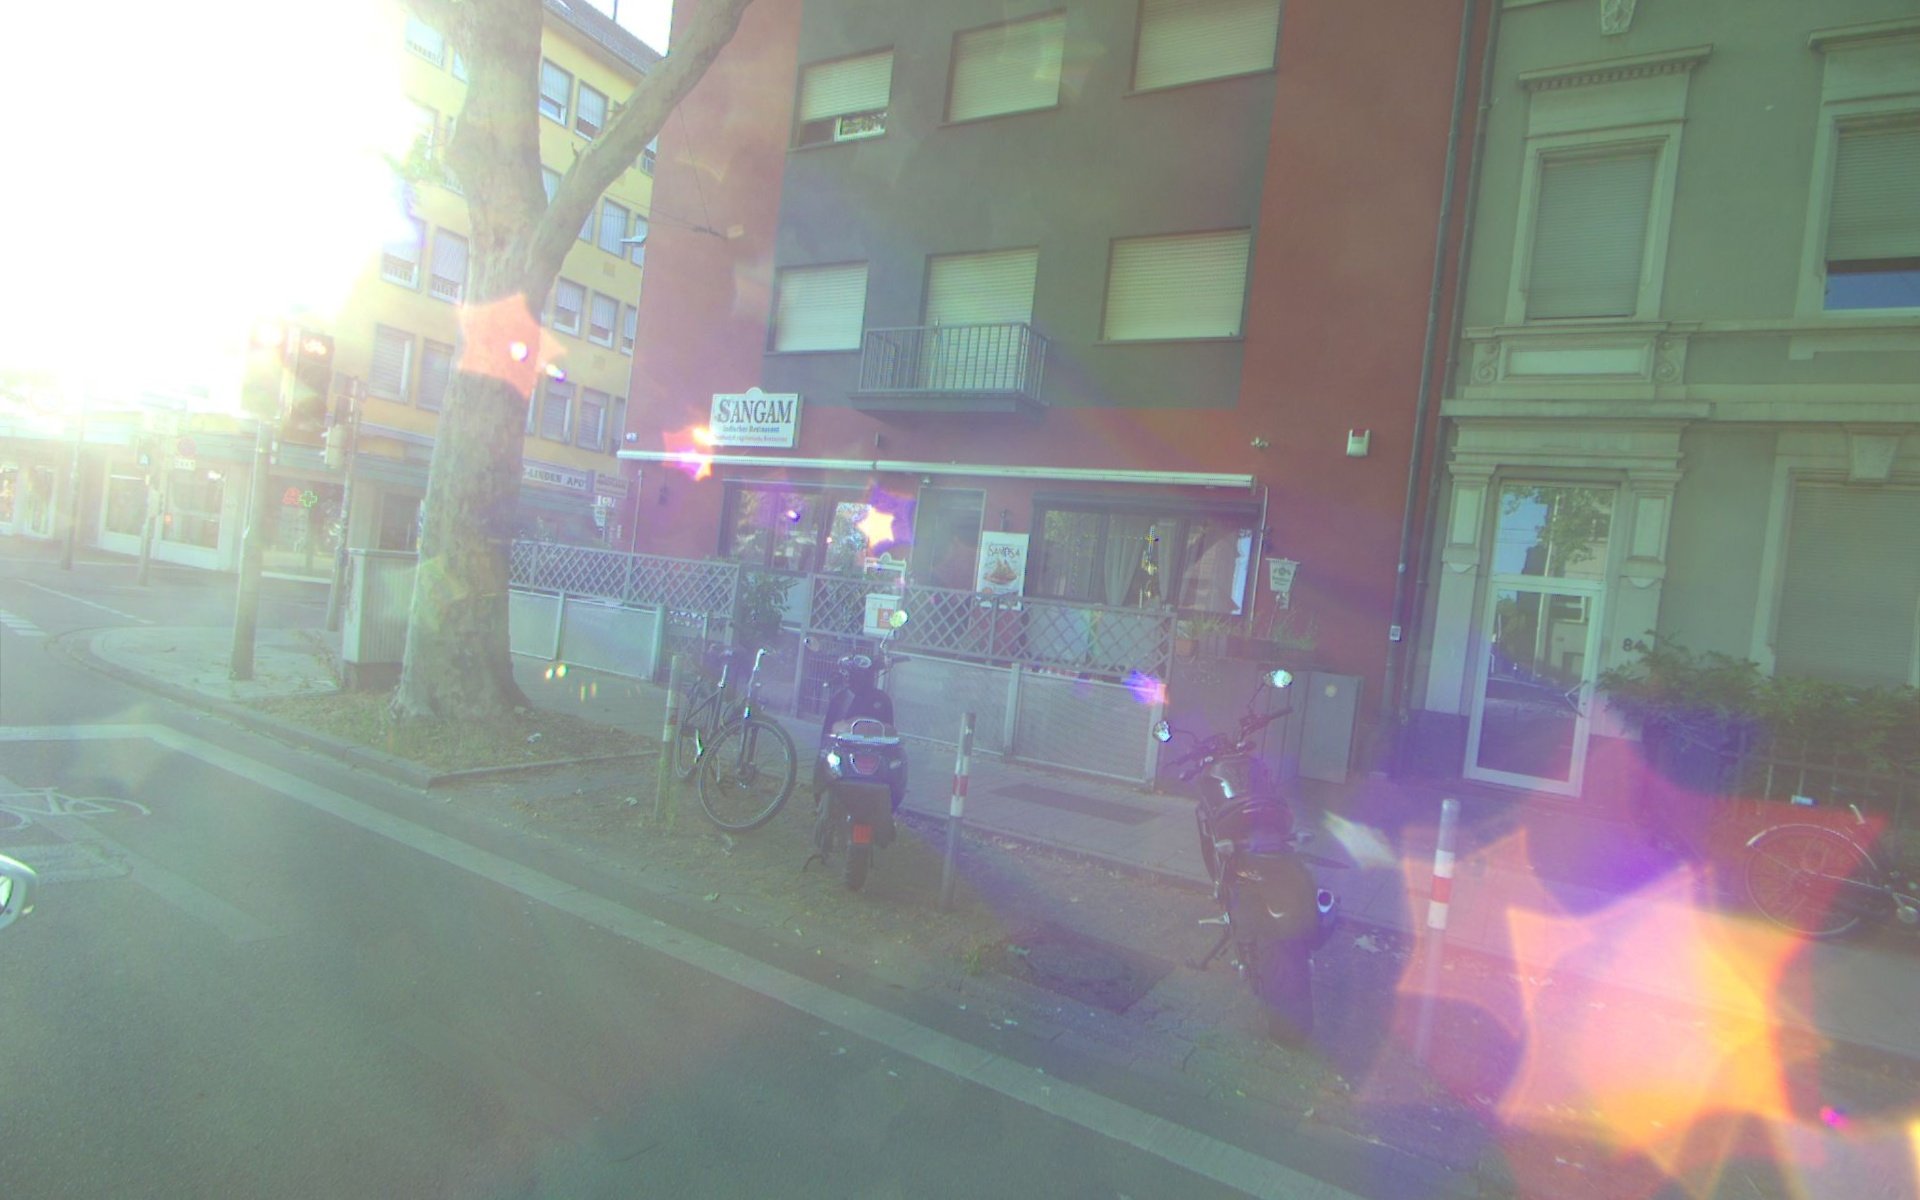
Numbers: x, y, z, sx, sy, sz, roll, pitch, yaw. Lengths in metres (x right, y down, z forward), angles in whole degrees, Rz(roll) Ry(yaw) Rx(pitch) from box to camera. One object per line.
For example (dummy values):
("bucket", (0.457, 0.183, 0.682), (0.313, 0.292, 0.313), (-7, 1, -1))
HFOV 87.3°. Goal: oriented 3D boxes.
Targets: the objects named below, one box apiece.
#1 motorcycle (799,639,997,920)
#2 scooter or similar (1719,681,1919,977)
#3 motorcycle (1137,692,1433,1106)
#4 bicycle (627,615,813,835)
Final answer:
("motorcycle", (-0.439, 0.909, 5.729), (0.772, 1.126, 1.884), (6, 2, -11))
("scooter or similar", (5.799, 1.356, 5.445), (2.502, 1.488, 0.665), (7, 1, 32))
("motorcycle", (1.323, 1.148, 4.618), (0.651, 1.125, 2.212), (7, 2, 4))
("bicycle", (-1.691, 0.779, 6.852), (0.614, 1.126, 1.784), (5, 3, -31))
